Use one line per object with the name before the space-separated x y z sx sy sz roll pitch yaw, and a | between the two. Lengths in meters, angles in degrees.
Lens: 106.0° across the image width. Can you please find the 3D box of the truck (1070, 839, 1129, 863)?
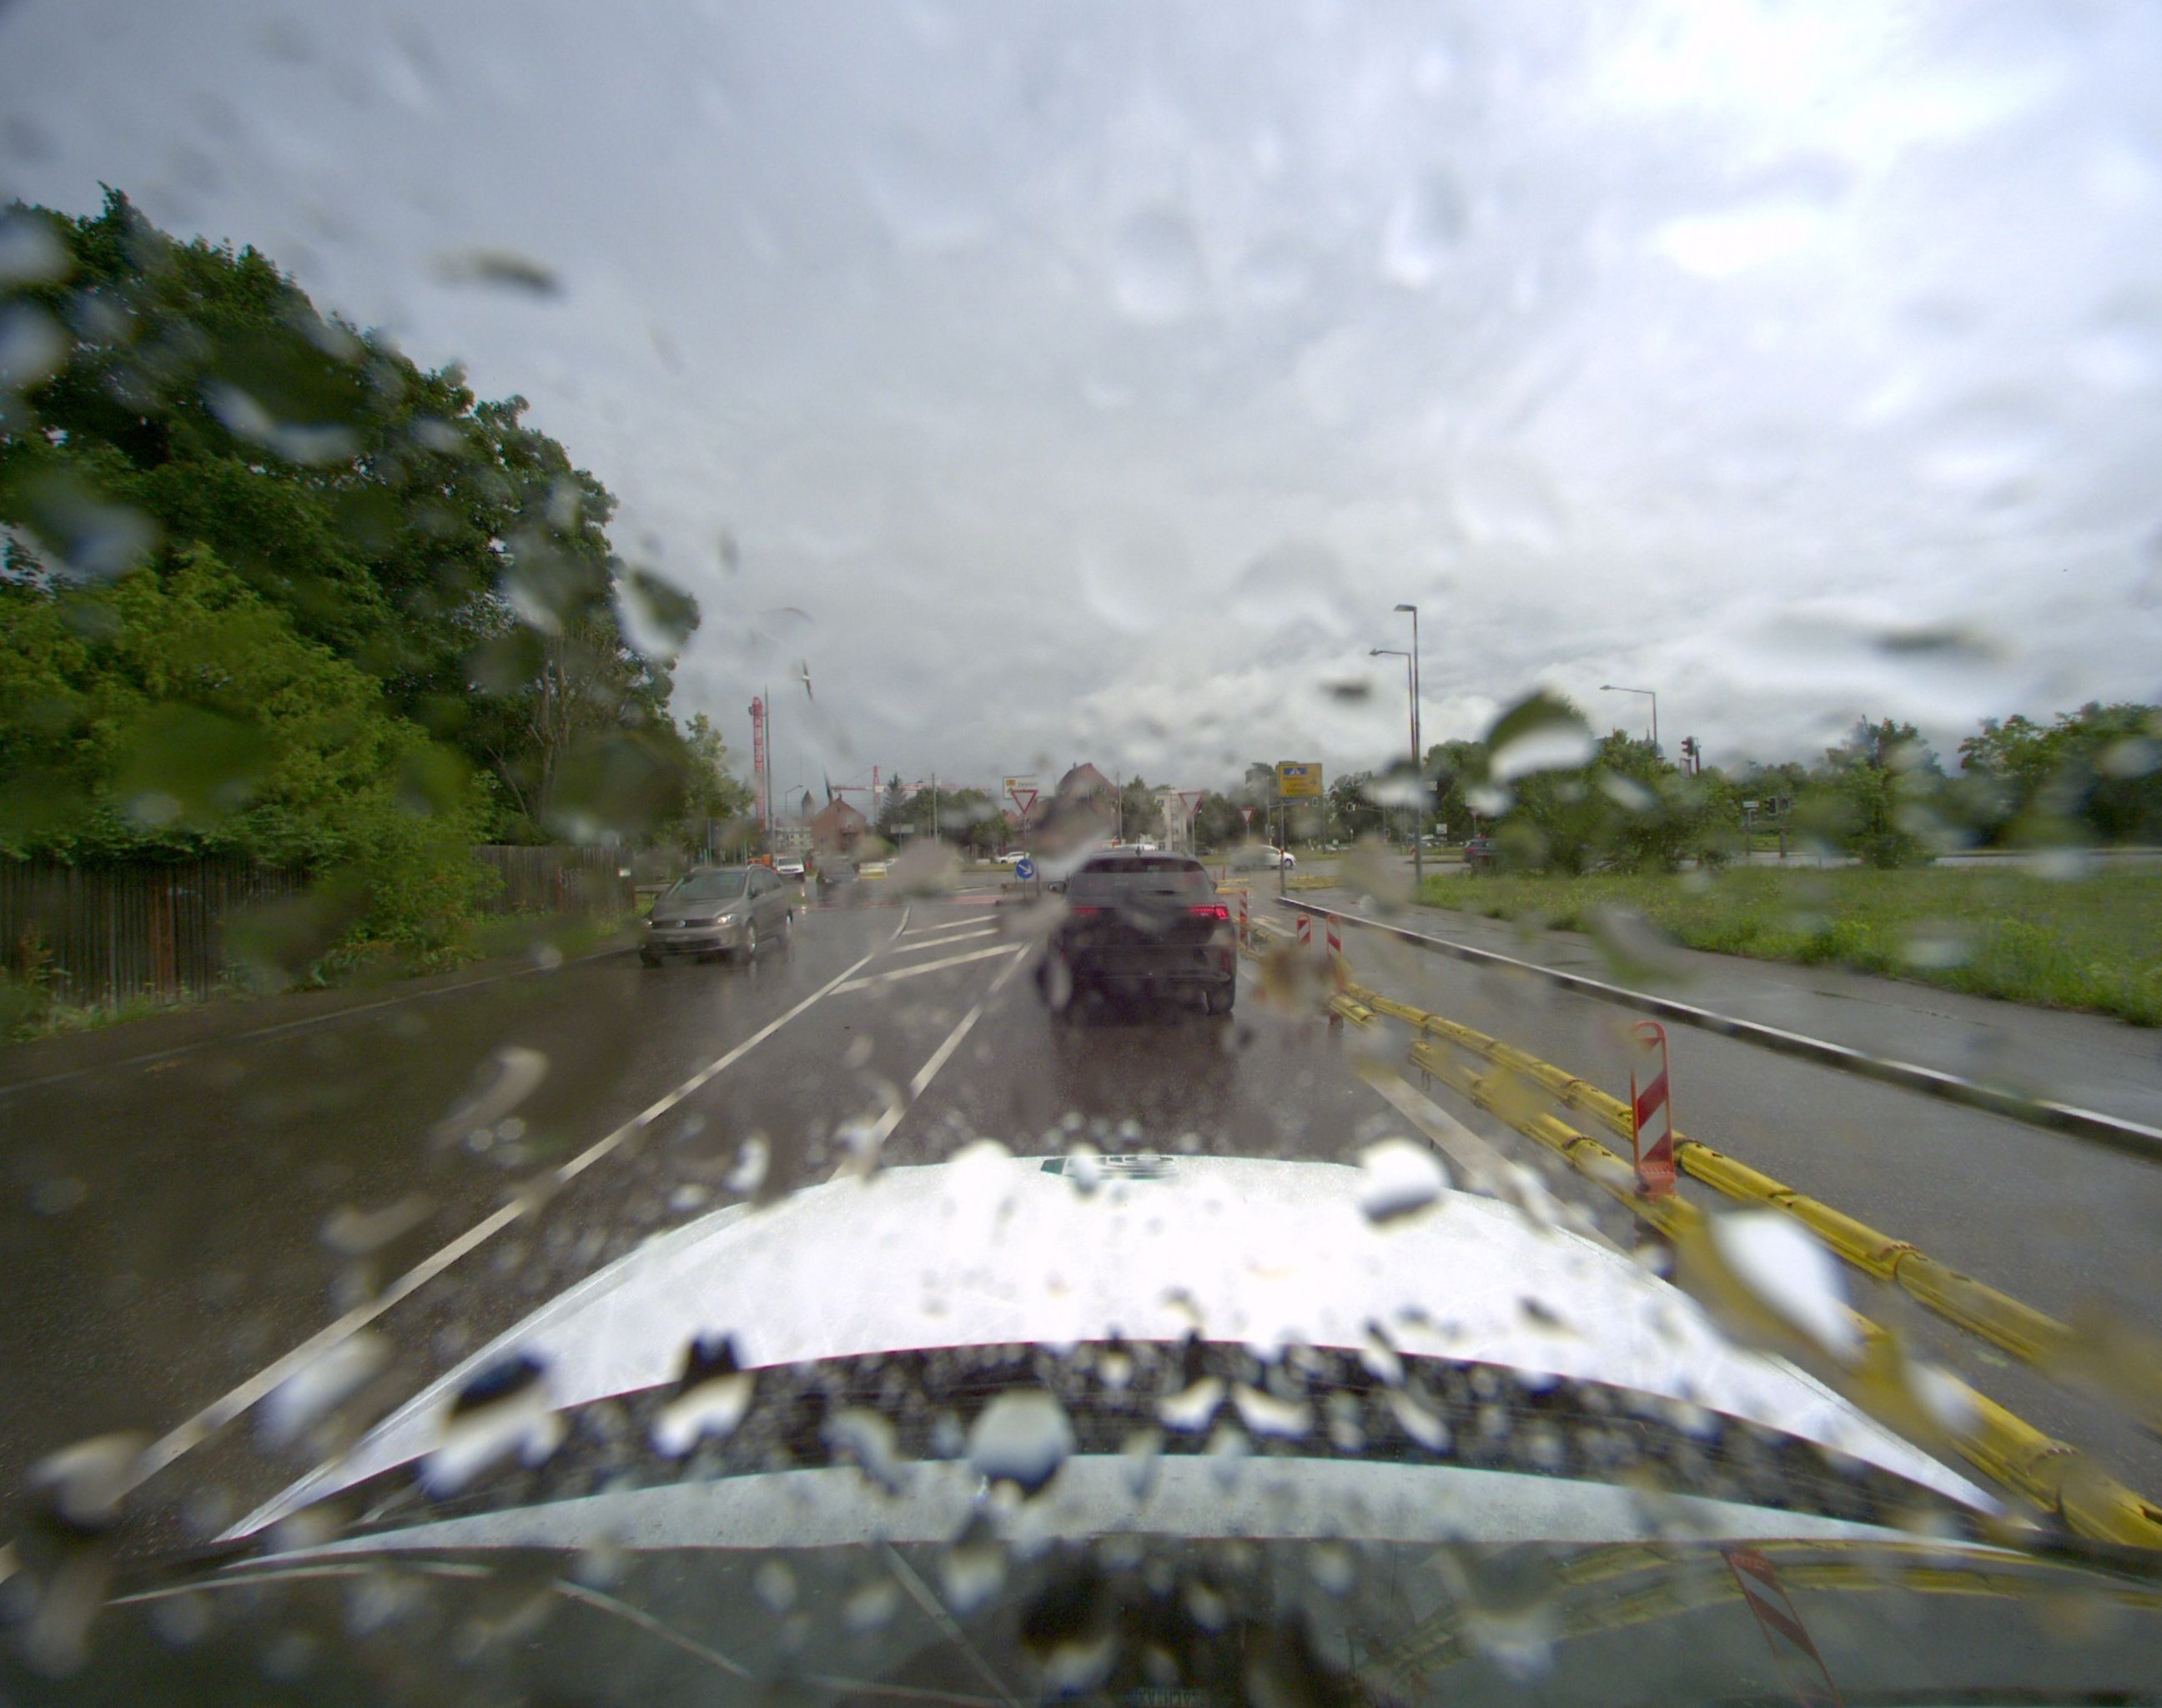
truck | 2.227 -0.342 99.450 7.050 2.650 2.327 -1 0 -3

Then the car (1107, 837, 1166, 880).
car | 2.568 0.173 36.691 1.851 1.809 4.421 -1 0 14

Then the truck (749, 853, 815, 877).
truck | -33.097 1.208 90.370 6.726 2.442 2.417 -2 0 -20

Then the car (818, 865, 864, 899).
car | -11.522 1.312 39.295 1.877 1.482 4.157 -2 -1 -14

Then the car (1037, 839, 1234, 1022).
car | 0.451 0.671 8.975 1.703 1.574 3.681 -1 0 -1

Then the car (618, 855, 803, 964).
car | -6.567 0.874 15.022 1.780 1.552 4.414 -5 0 -8

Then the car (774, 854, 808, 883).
car | -20.780 1.026 58.521 1.892 1.876 5.104 -2 0 -16

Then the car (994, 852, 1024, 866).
car | -8.921 0.577 100.946 3.505 1.584 1.557 -2 0 -19

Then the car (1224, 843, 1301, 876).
car | 10.763 0.313 48.460 3.997 1.830 1.988 -2 0 -18

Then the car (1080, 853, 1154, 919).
car | 0.856 0.762 21.137 1.730 1.514 3.603 -1 0 0

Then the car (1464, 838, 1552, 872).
car | 22.373 0.056 42.804 3.908 1.644 1.679 -1 0 20
